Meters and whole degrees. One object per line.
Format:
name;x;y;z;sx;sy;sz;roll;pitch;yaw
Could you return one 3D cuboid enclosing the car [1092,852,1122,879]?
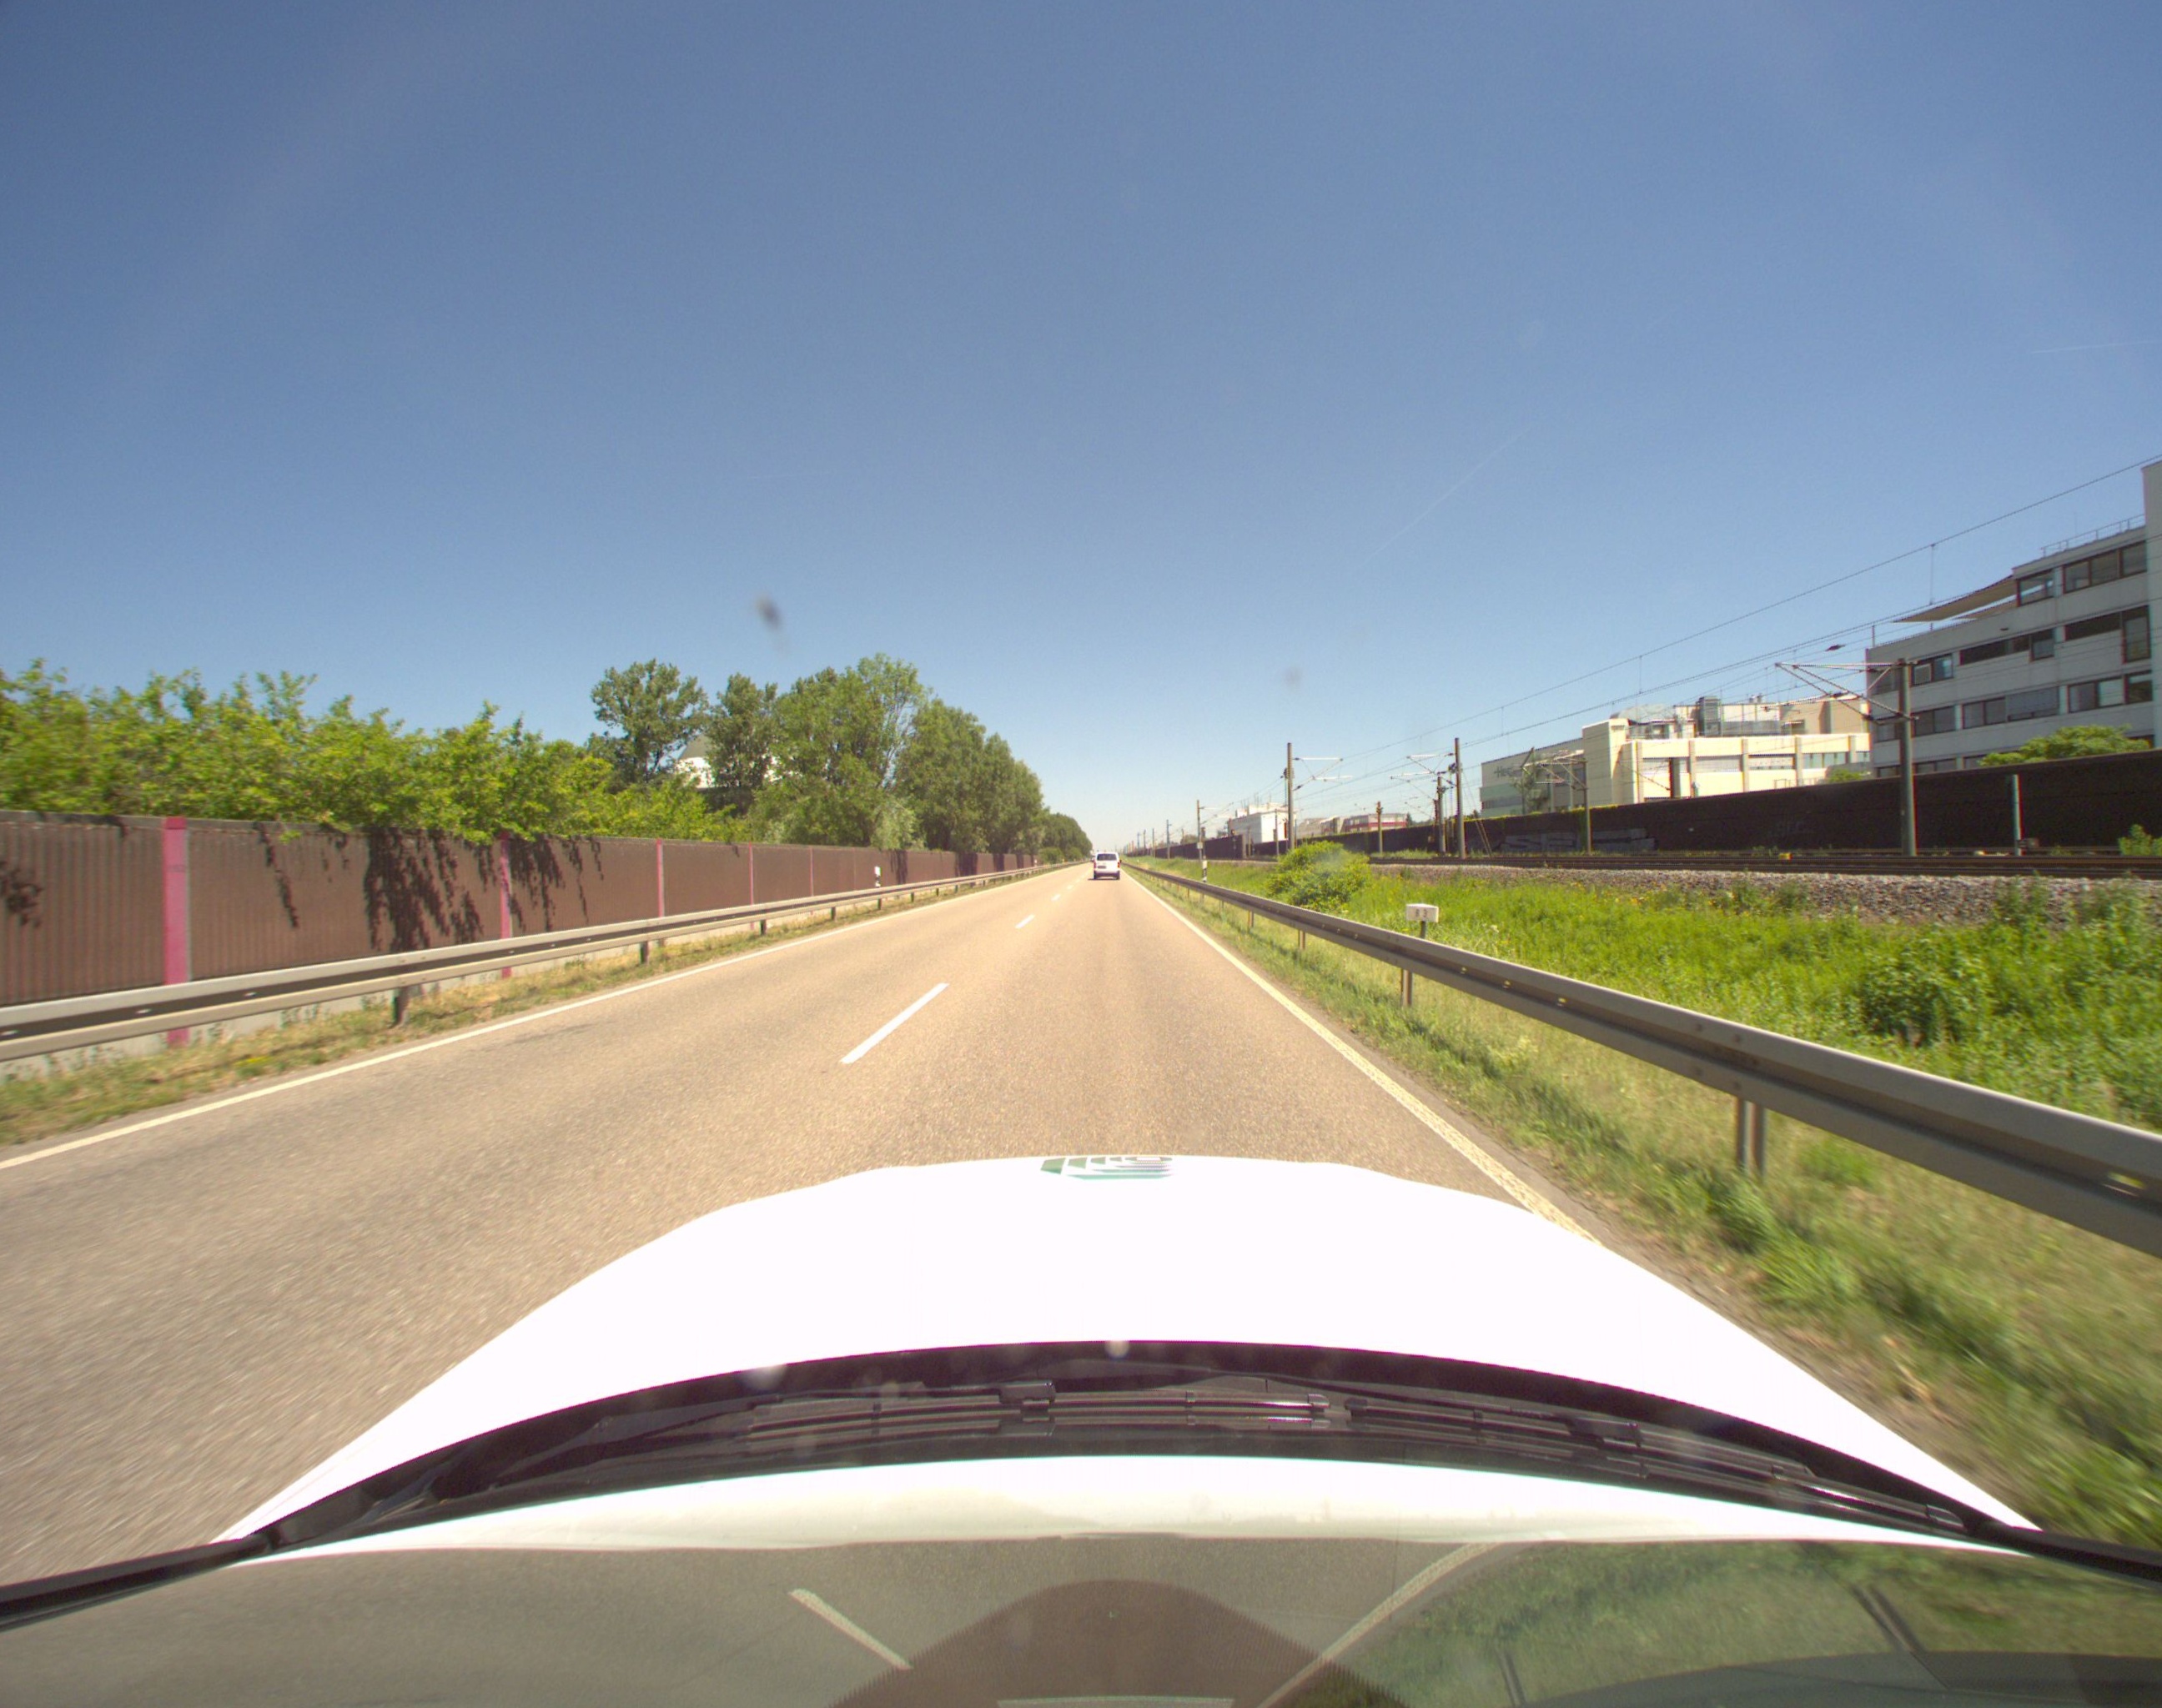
car;1.845;0.794;57.927;1.986;1.850;4.001;0;0;2
